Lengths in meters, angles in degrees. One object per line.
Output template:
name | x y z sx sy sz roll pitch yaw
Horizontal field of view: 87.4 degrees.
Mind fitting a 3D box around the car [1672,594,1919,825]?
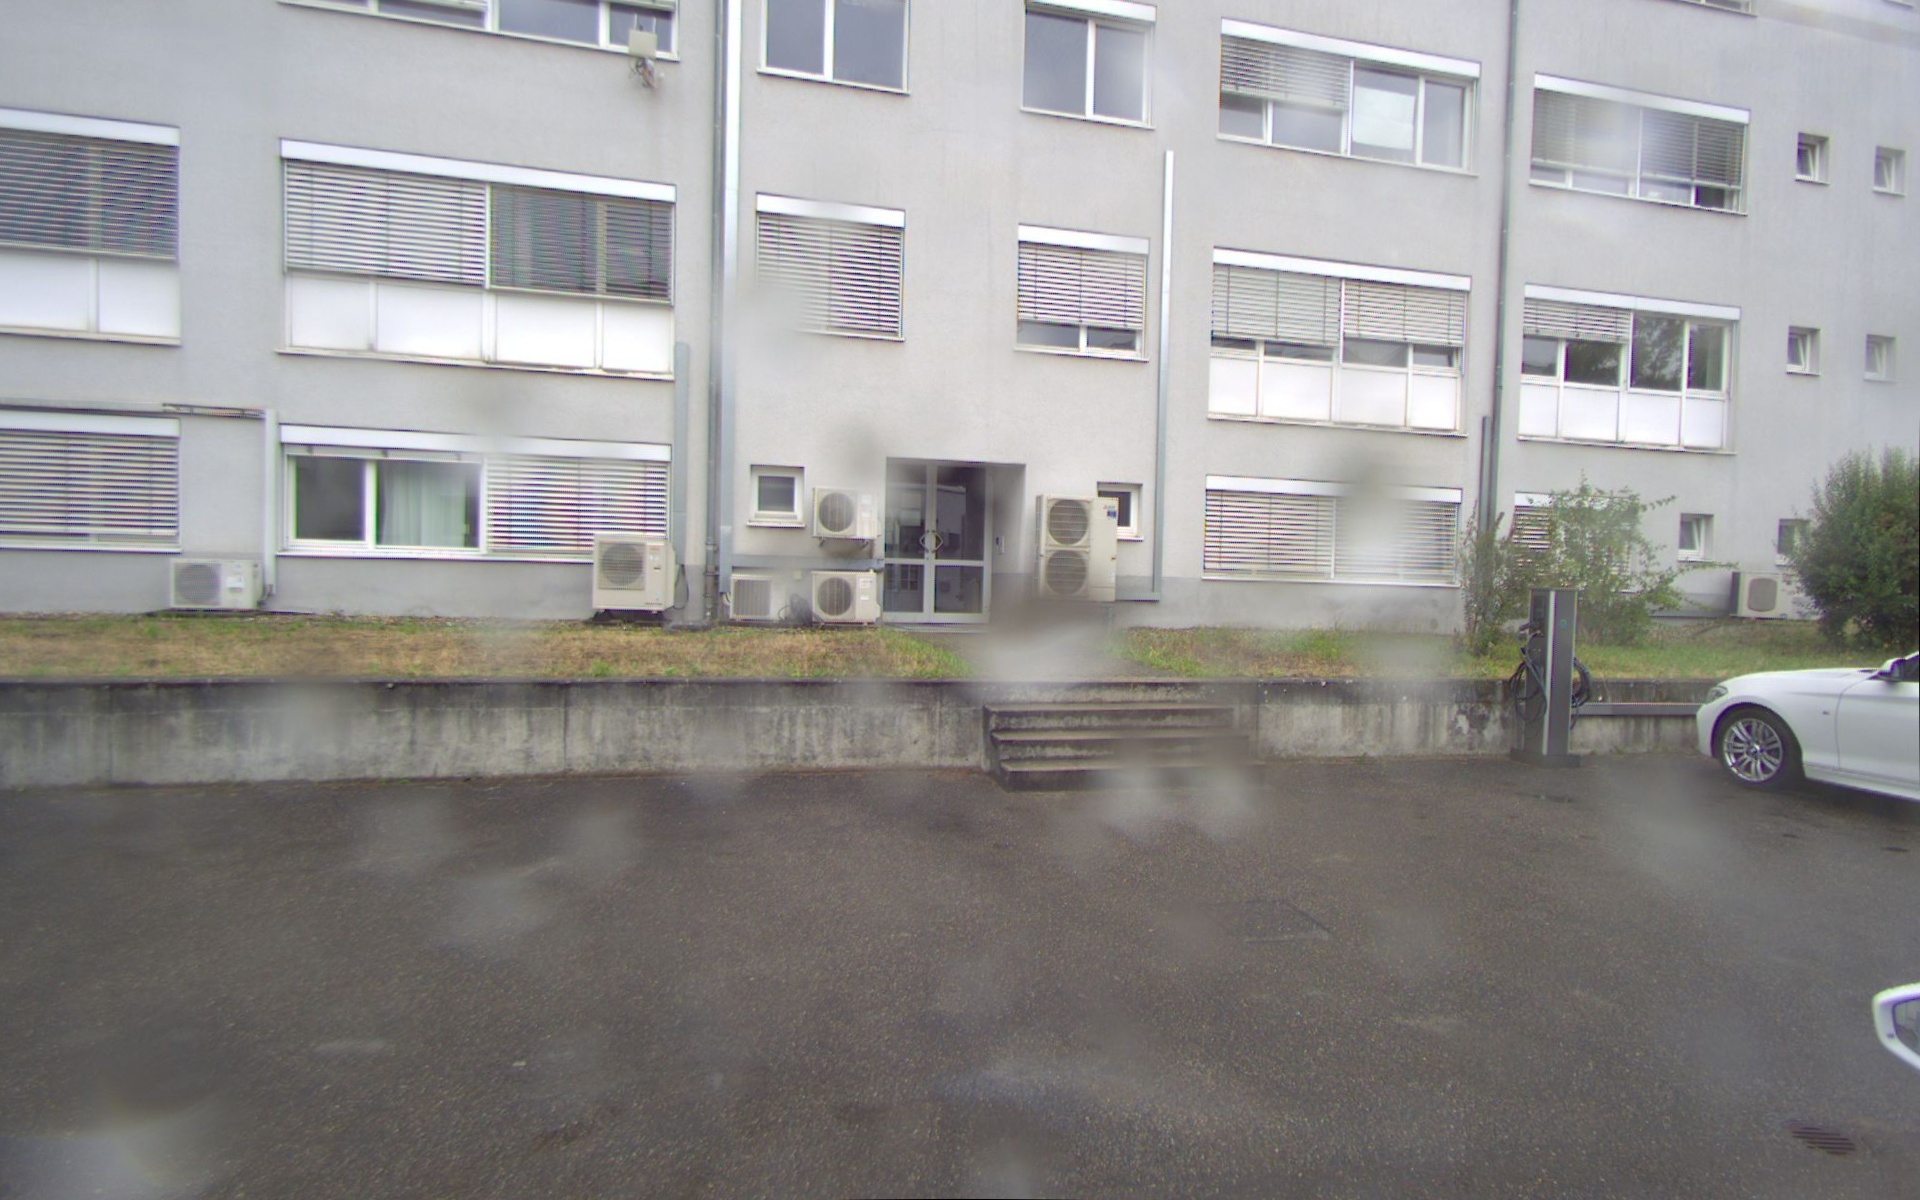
car | 7.120 0.763 6.377 1.722 1.453 4.143 2 1 -12
